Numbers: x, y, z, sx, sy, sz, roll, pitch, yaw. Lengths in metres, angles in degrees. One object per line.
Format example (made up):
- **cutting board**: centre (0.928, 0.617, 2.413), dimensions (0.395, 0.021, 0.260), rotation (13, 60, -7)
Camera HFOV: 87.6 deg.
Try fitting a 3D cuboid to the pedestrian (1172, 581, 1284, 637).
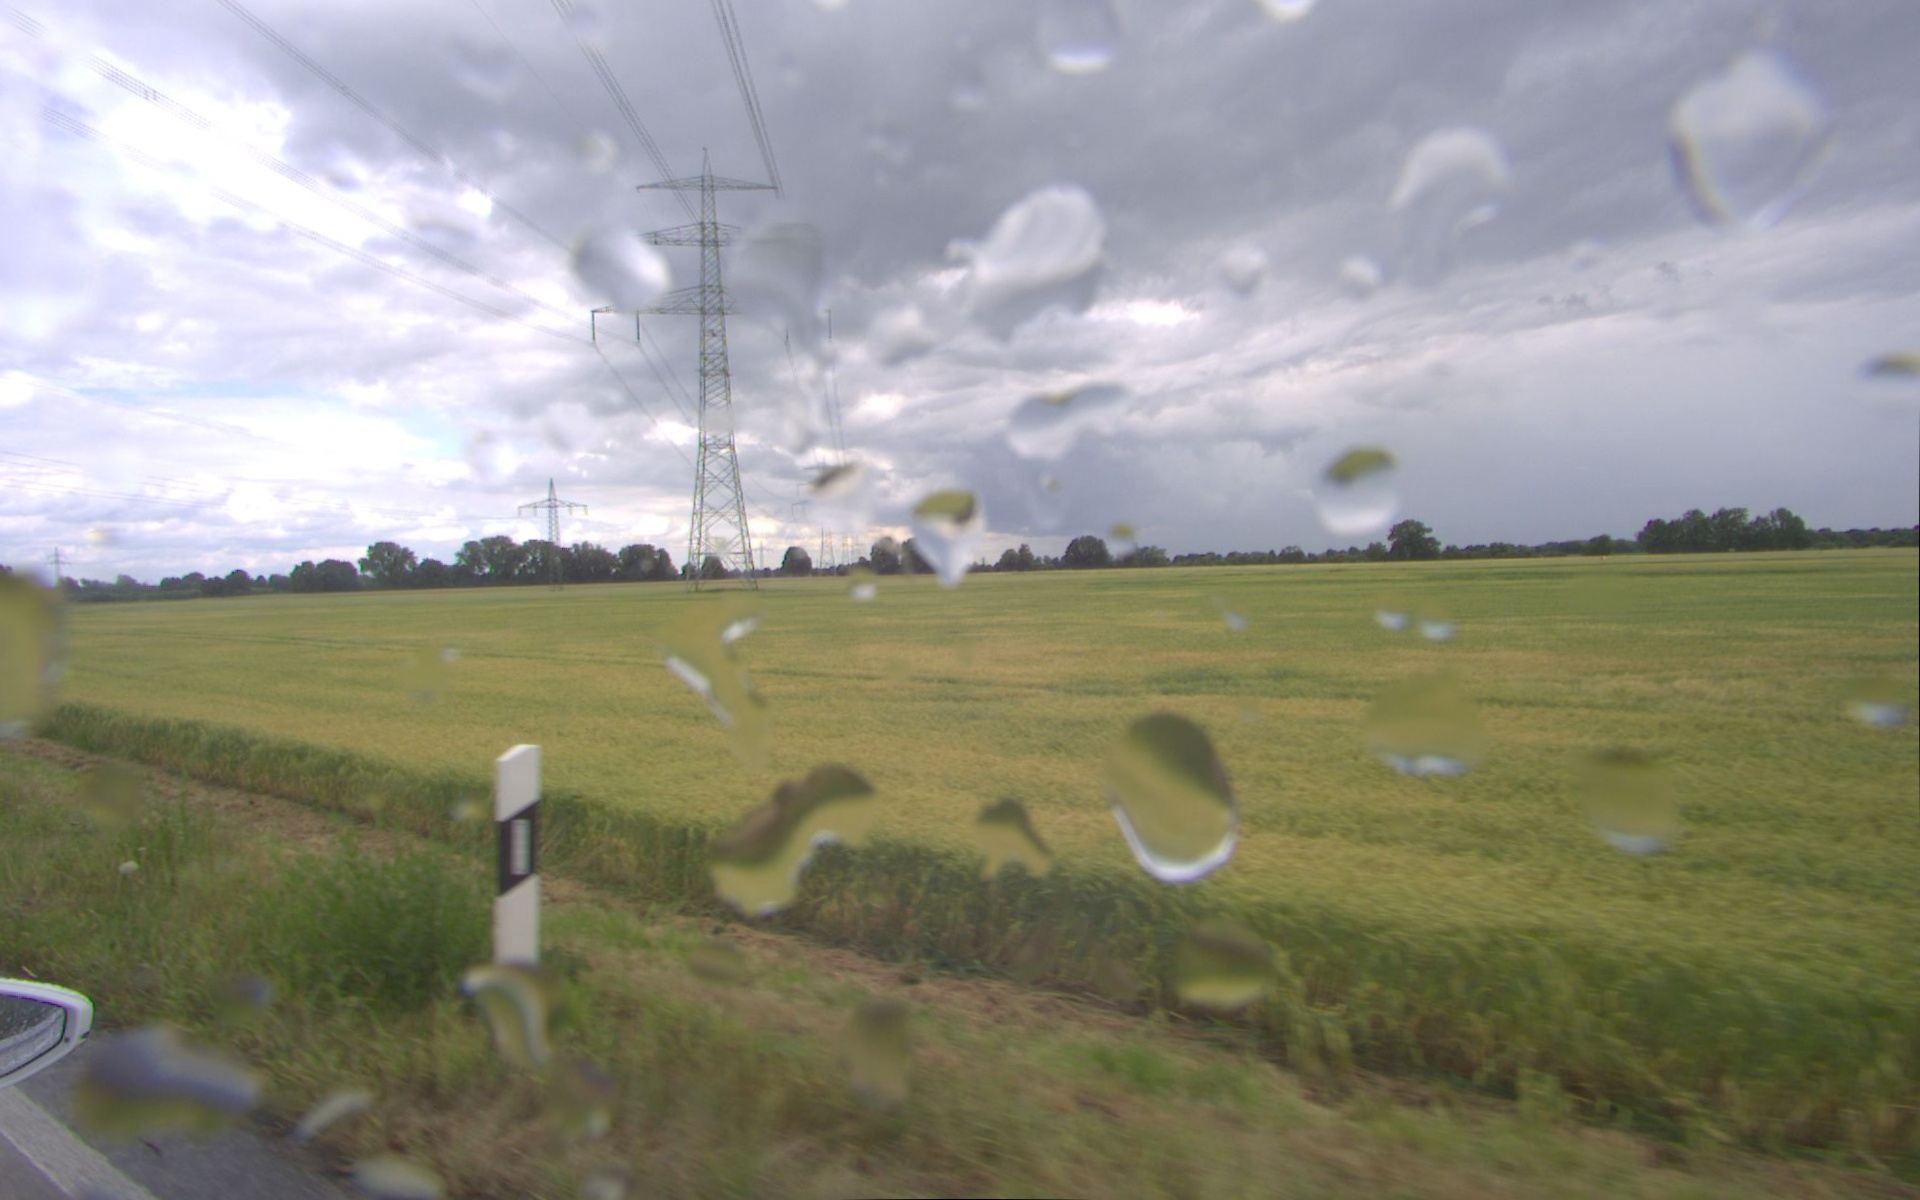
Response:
- **pedestrian**: centre (10.393, 0.389, 38.822), dimensions (3.935, 2.039, 1.994), rotation (-2, -2, 24)
